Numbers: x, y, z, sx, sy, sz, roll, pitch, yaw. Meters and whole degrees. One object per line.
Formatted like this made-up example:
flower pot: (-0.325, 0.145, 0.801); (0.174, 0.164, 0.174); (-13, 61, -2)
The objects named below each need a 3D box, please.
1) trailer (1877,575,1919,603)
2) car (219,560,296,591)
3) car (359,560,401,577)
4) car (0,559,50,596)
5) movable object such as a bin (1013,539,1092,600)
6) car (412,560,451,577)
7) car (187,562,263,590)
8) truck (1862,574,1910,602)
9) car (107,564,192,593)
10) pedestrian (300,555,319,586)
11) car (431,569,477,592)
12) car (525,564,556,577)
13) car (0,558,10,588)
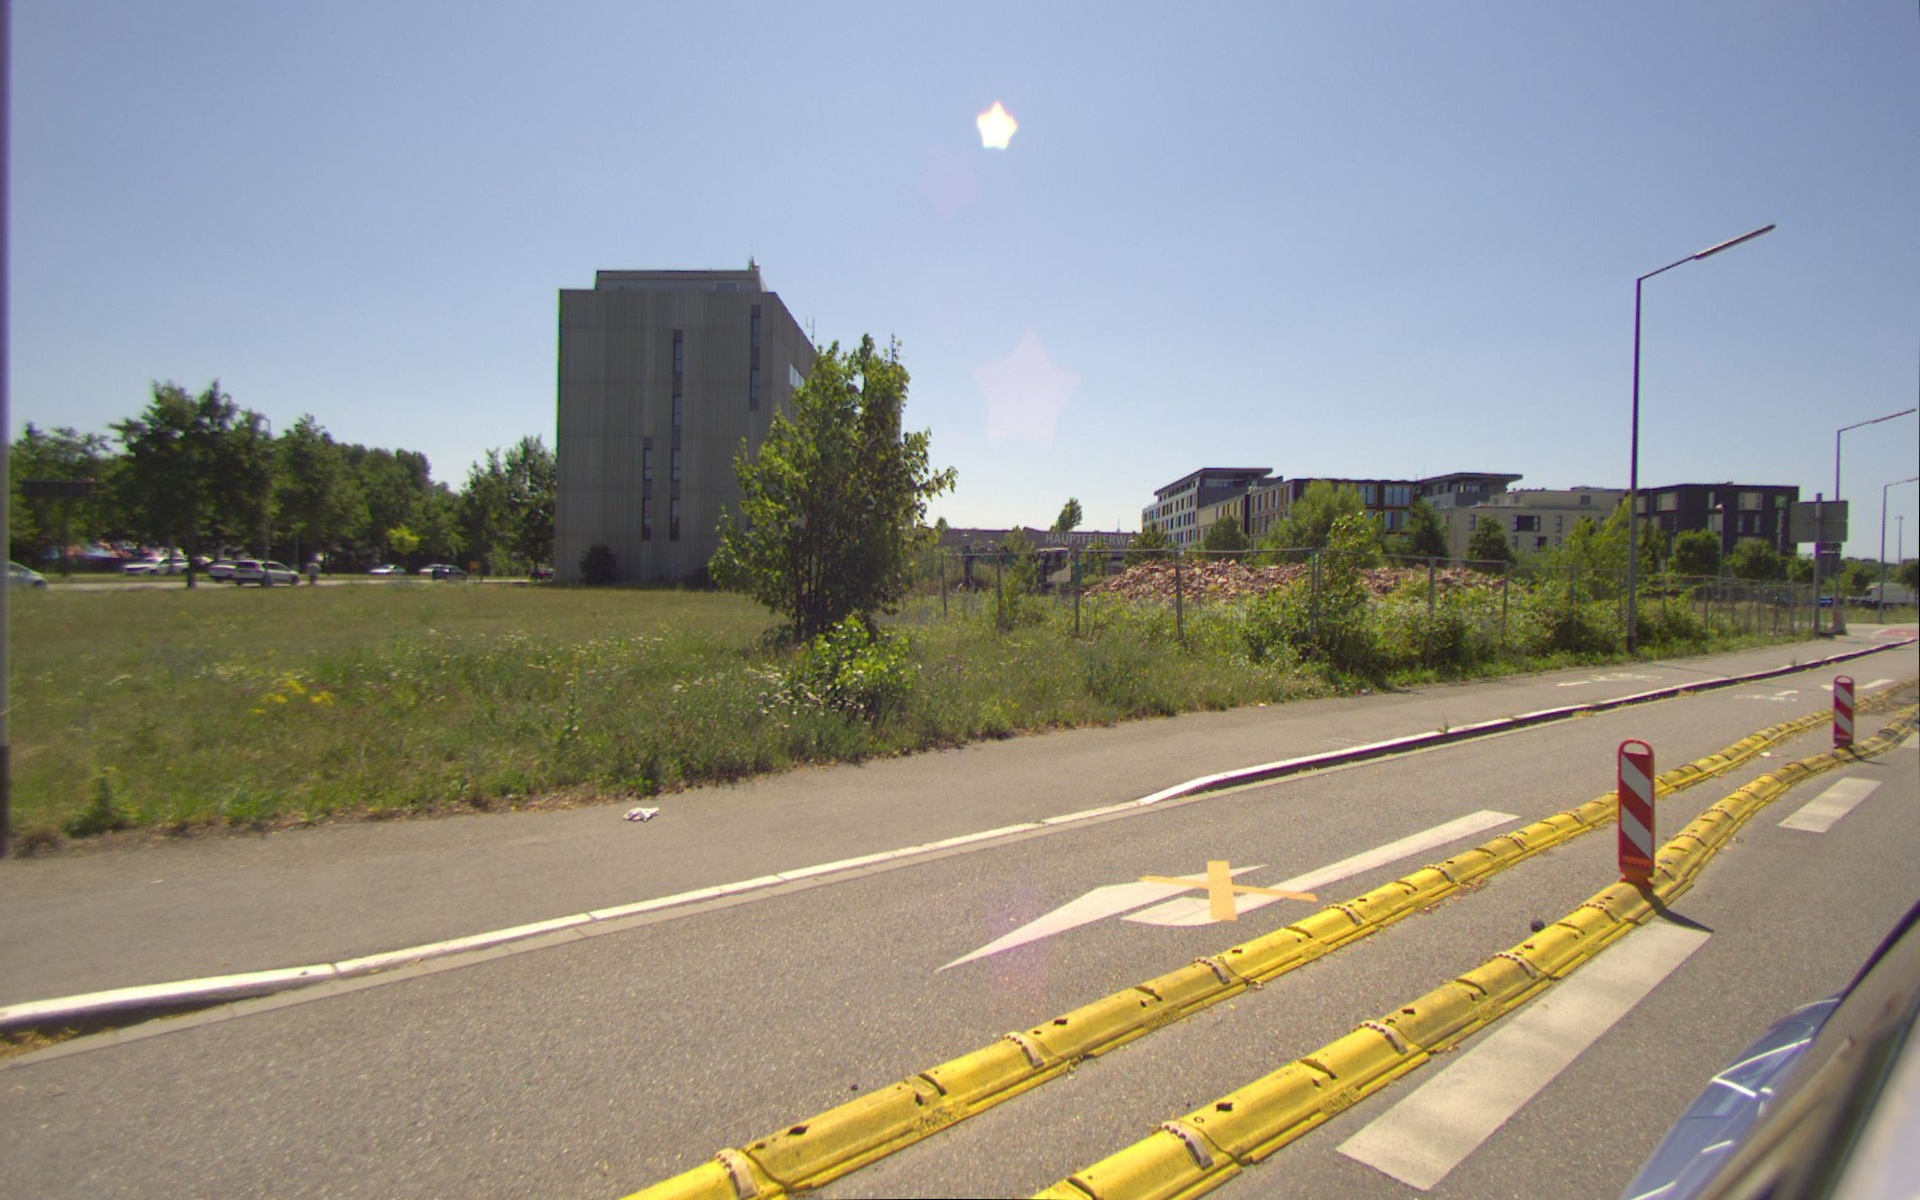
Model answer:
trailer: (119.688, -1.361, 126.392); (8.030, 3.390, 1.998); (1, 1, 4)
car: (-44.241, -1.534, 63.841); (1.962, 1.838, 4.264); (0, 1, 0)
car: (-61.339, -3.279, 107.115); (1.964, 1.738, 3.996); (0, 1, 4)
car: (-42.689, -0.992, 44.503); (1.649, 1.640, 4.009); (0, 1, 3)
movable object such as a bin: (4.948, -1.590, 53.958); (3.619, 3.101, 2.207); (0, 1, -35)
car: (-58.026, -3.453, 111.207); (1.964, 1.738, 3.996); (0, 1, 4)
car: (-48.544, -1.569, 66.976); (1.962, 1.838, 4.264); (0, 1, 0)
truck: (115.892, -1.480, 126.690); (3.928, 3.377, 1.998); (1, 1, 4)
car: (-58.390, -1.553, 73.080); (1.963, 2.039, 5.083); (0, 1, 2)
pedestrian: (-33.873, -1.534, 52.709); (0.489, 1.583, 0.737); (0, 0, -1)
car: (-45.350, -1.768, 90.804); (1.964, 2.039, 3.996); (0, 1, 4)
car: (-47.568, -3.342, 114.792); (1.961, 1.425, 4.001); (0, 1, -1)
car: (-61.251, -1.670, 61.869); (1.964, 1.873, 4.601); (0, 1, 3)
